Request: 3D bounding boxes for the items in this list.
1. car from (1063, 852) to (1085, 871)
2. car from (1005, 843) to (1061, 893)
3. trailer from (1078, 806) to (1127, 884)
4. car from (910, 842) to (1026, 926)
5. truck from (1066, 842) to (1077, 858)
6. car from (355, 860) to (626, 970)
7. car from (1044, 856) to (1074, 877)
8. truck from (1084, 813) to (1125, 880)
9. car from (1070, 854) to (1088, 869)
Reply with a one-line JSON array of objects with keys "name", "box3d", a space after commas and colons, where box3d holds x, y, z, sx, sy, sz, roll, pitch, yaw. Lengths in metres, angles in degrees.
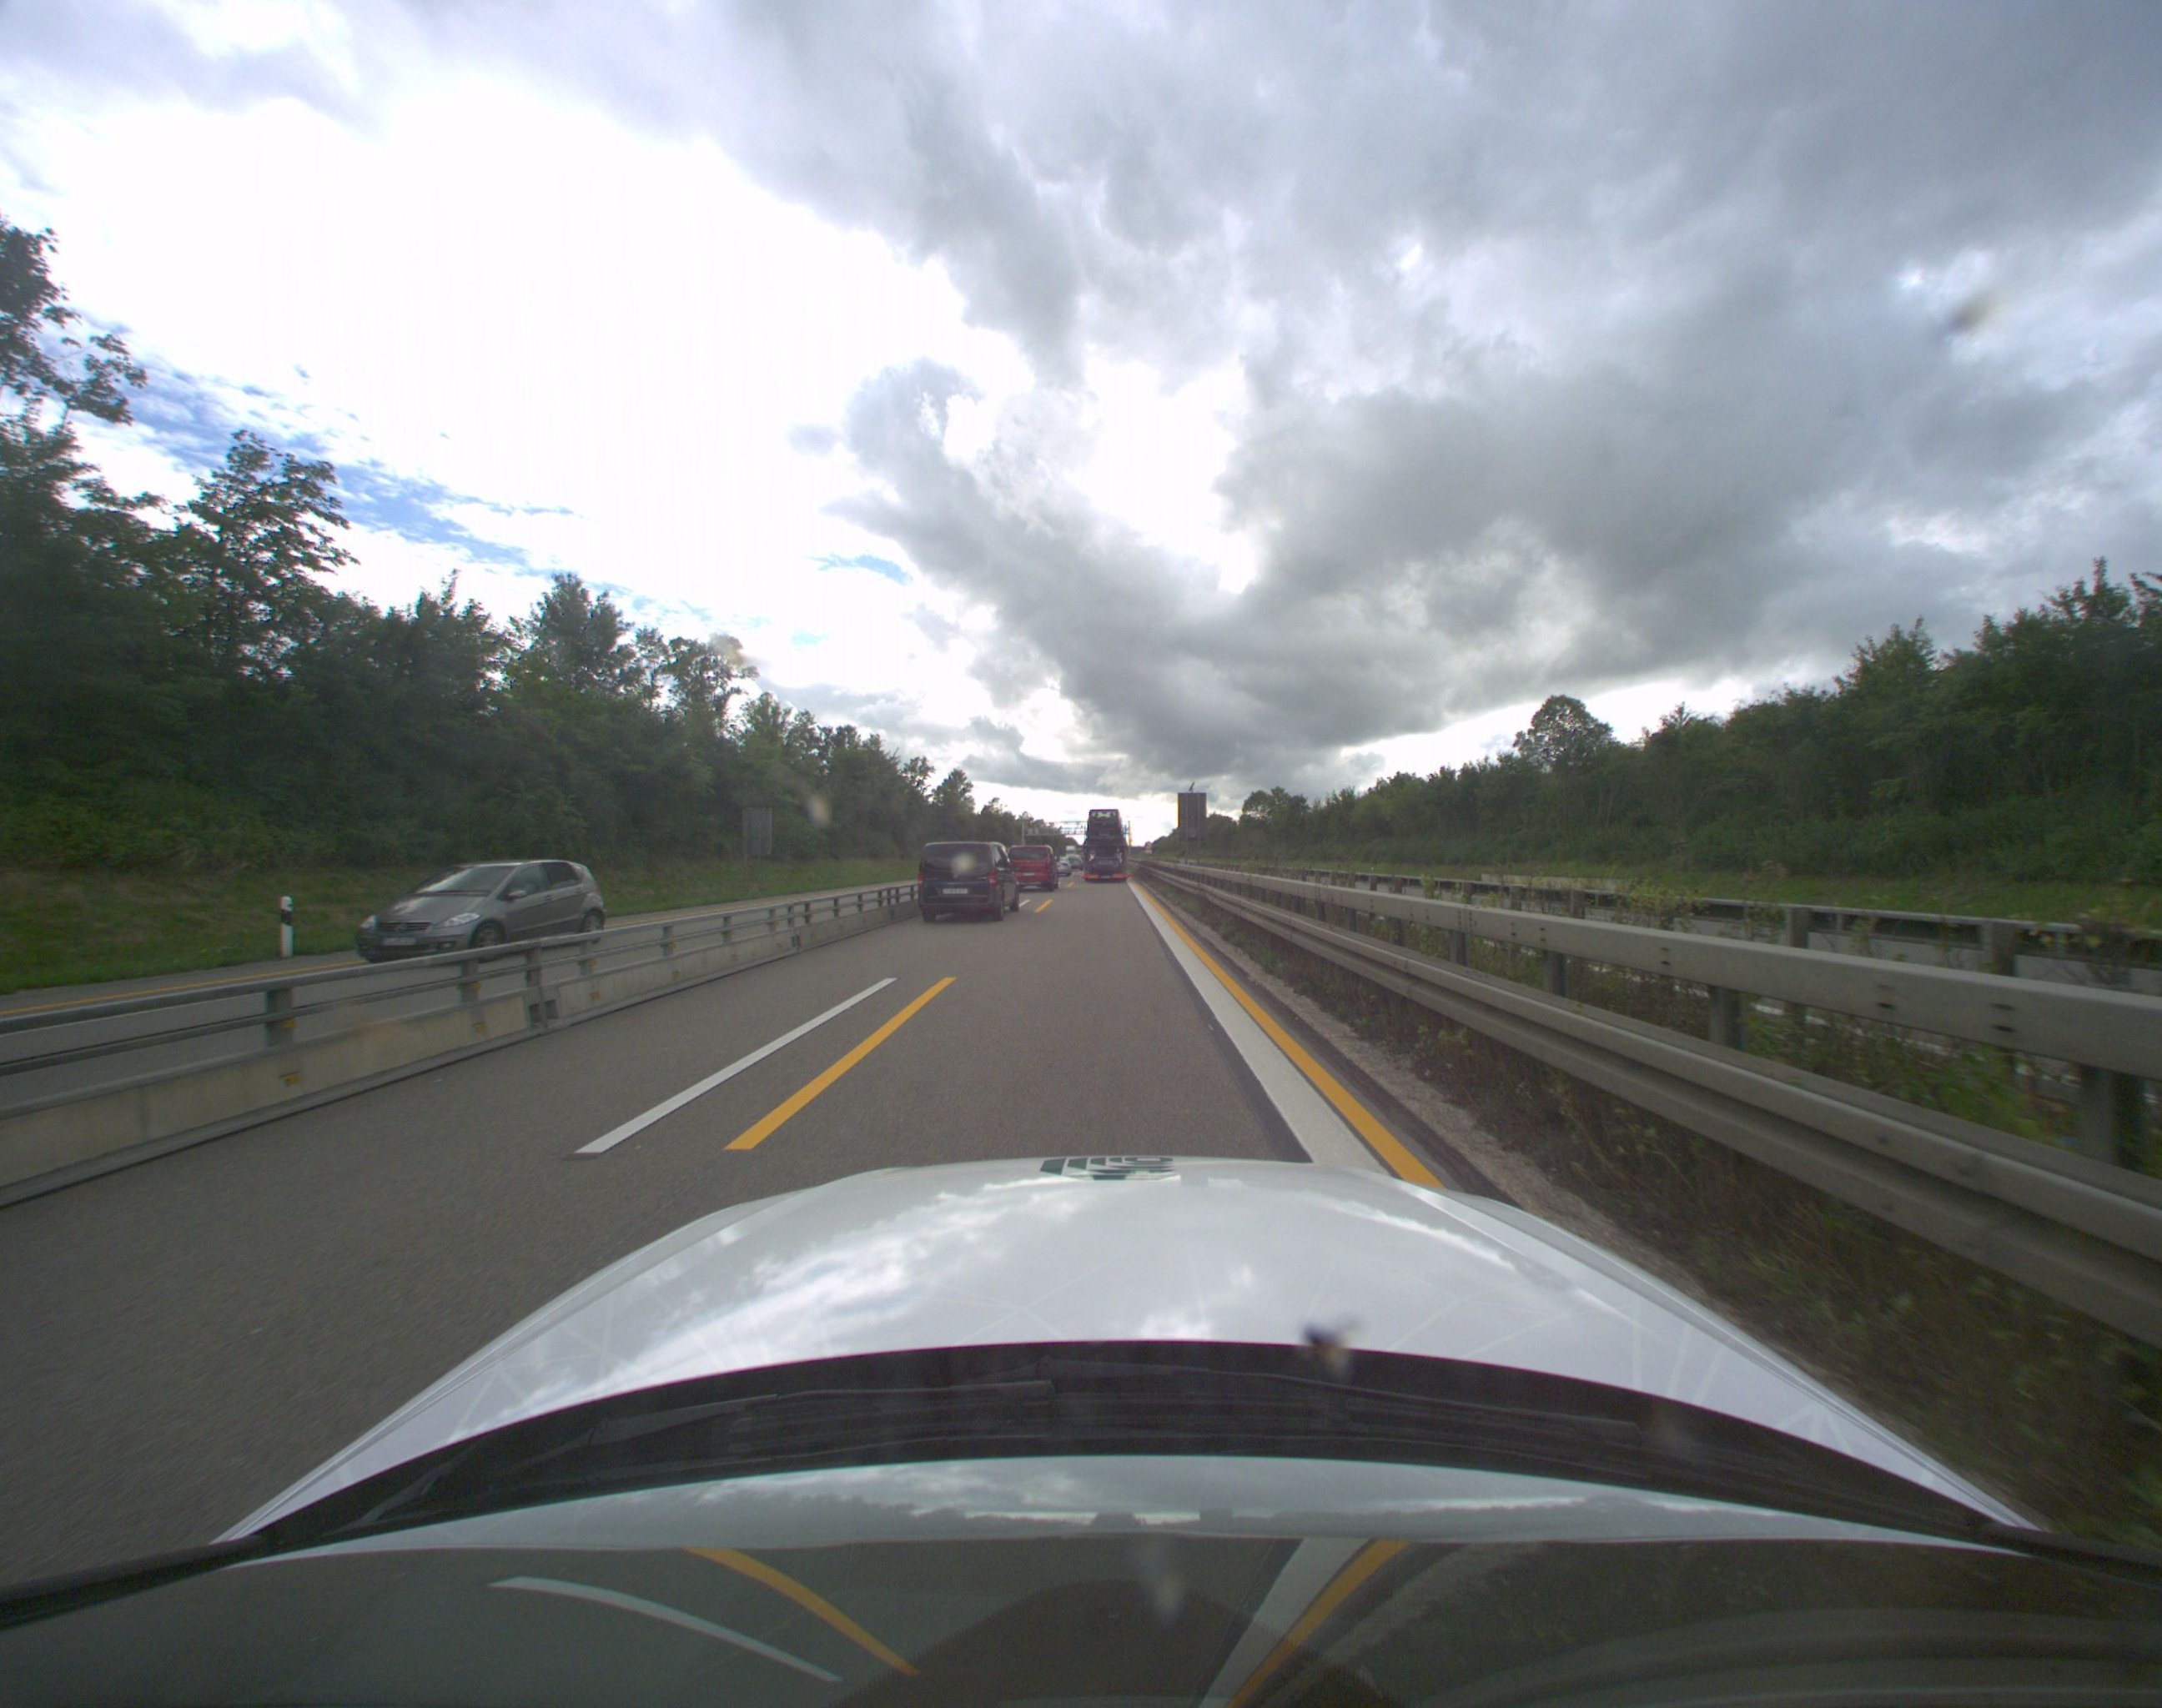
[{"name": "car", "box3d": [-0.684, 0.720, 80.655, 2.024, 1.757, 4.579, -1, 0, 1]}, {"name": "car", "box3d": [-2.025, 0.595, 35.742, 2.023, 2.013, 4.580, -1, 0, 2]}, {"name": "trailer", "box3d": [1.392, -0.471, 48.797, 2.505, 4.105, 11.120, -1, 0, 3]}, {"name": "car", "box3d": [-2.709, 0.675, 20.981, 1.986, 1.843, 5.612, -1, 0, 2]}, {"name": "truck", "box3d": [-2.648, -1.131, 226.507, 2.589, 4.154, 5.622, 0, 0, 2]}, {"name": "car", "box3d": [-9.843, 0.924, 14.026, 1.675, 1.550, 3.951, -2, 0, 2]}, {"name": "car", "box3d": [-1.601, 0.904, 60.803, 2.024, 1.430, 4.579, -1, 0, 1]}, {"name": "truck", "box3d": [1.594, -0.463, 53.540, 2.505, 4.105, 5.688, -1, 0, 2]}, {"name": "car", "box3d": [-0.182, 0.847, 96.956, 2.024, 1.757, 4.578, -1, 0, 1]}]
